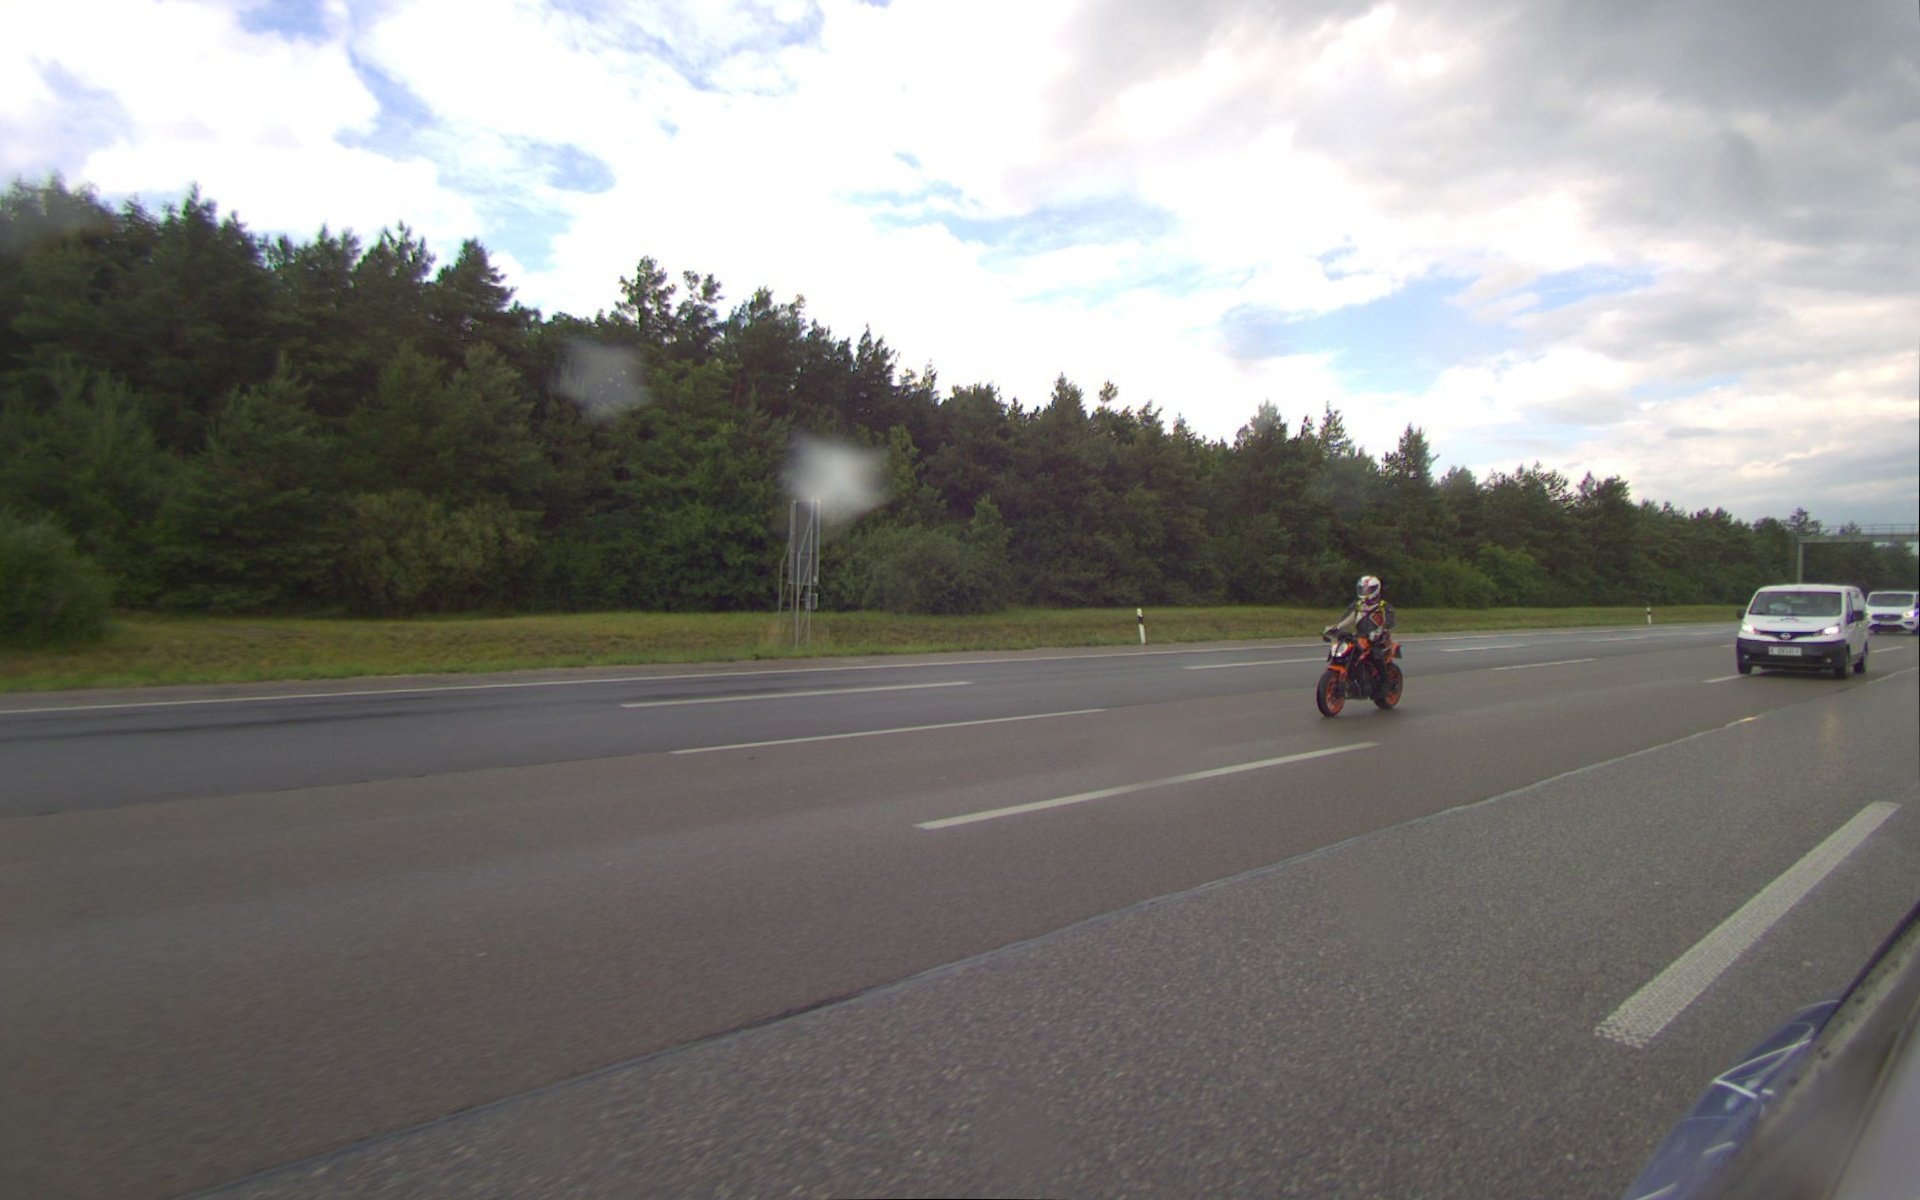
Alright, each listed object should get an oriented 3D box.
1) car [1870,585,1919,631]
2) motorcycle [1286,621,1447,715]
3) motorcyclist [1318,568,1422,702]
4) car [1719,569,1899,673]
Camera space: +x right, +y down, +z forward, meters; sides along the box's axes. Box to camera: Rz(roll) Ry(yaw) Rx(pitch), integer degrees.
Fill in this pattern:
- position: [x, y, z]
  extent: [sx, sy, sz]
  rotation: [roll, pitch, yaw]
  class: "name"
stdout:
- position: [44.129, 0.351, 46.839]
  extent: [5.380, 2.039, 1.999]
  rotation: [0, 0, -37]
  class: "car"
- position: [5.215, 0.821, 12.917]
  extent: [2.134, 1.044, 1.002]
  rotation: [0, 1, -39]
  class: "motorcycle"
- position: [5.229, 0.417, 12.915]
  extent: [0.941, 1.635, 0.893]
  rotation: [0, 0, -39]
  class: "motorcyclist"
- position: [17.592, 0.375, 20.895]
  extent: [4.793, 1.926, 1.968]
  rotation: [0, 1, -39]
  class: "car"
